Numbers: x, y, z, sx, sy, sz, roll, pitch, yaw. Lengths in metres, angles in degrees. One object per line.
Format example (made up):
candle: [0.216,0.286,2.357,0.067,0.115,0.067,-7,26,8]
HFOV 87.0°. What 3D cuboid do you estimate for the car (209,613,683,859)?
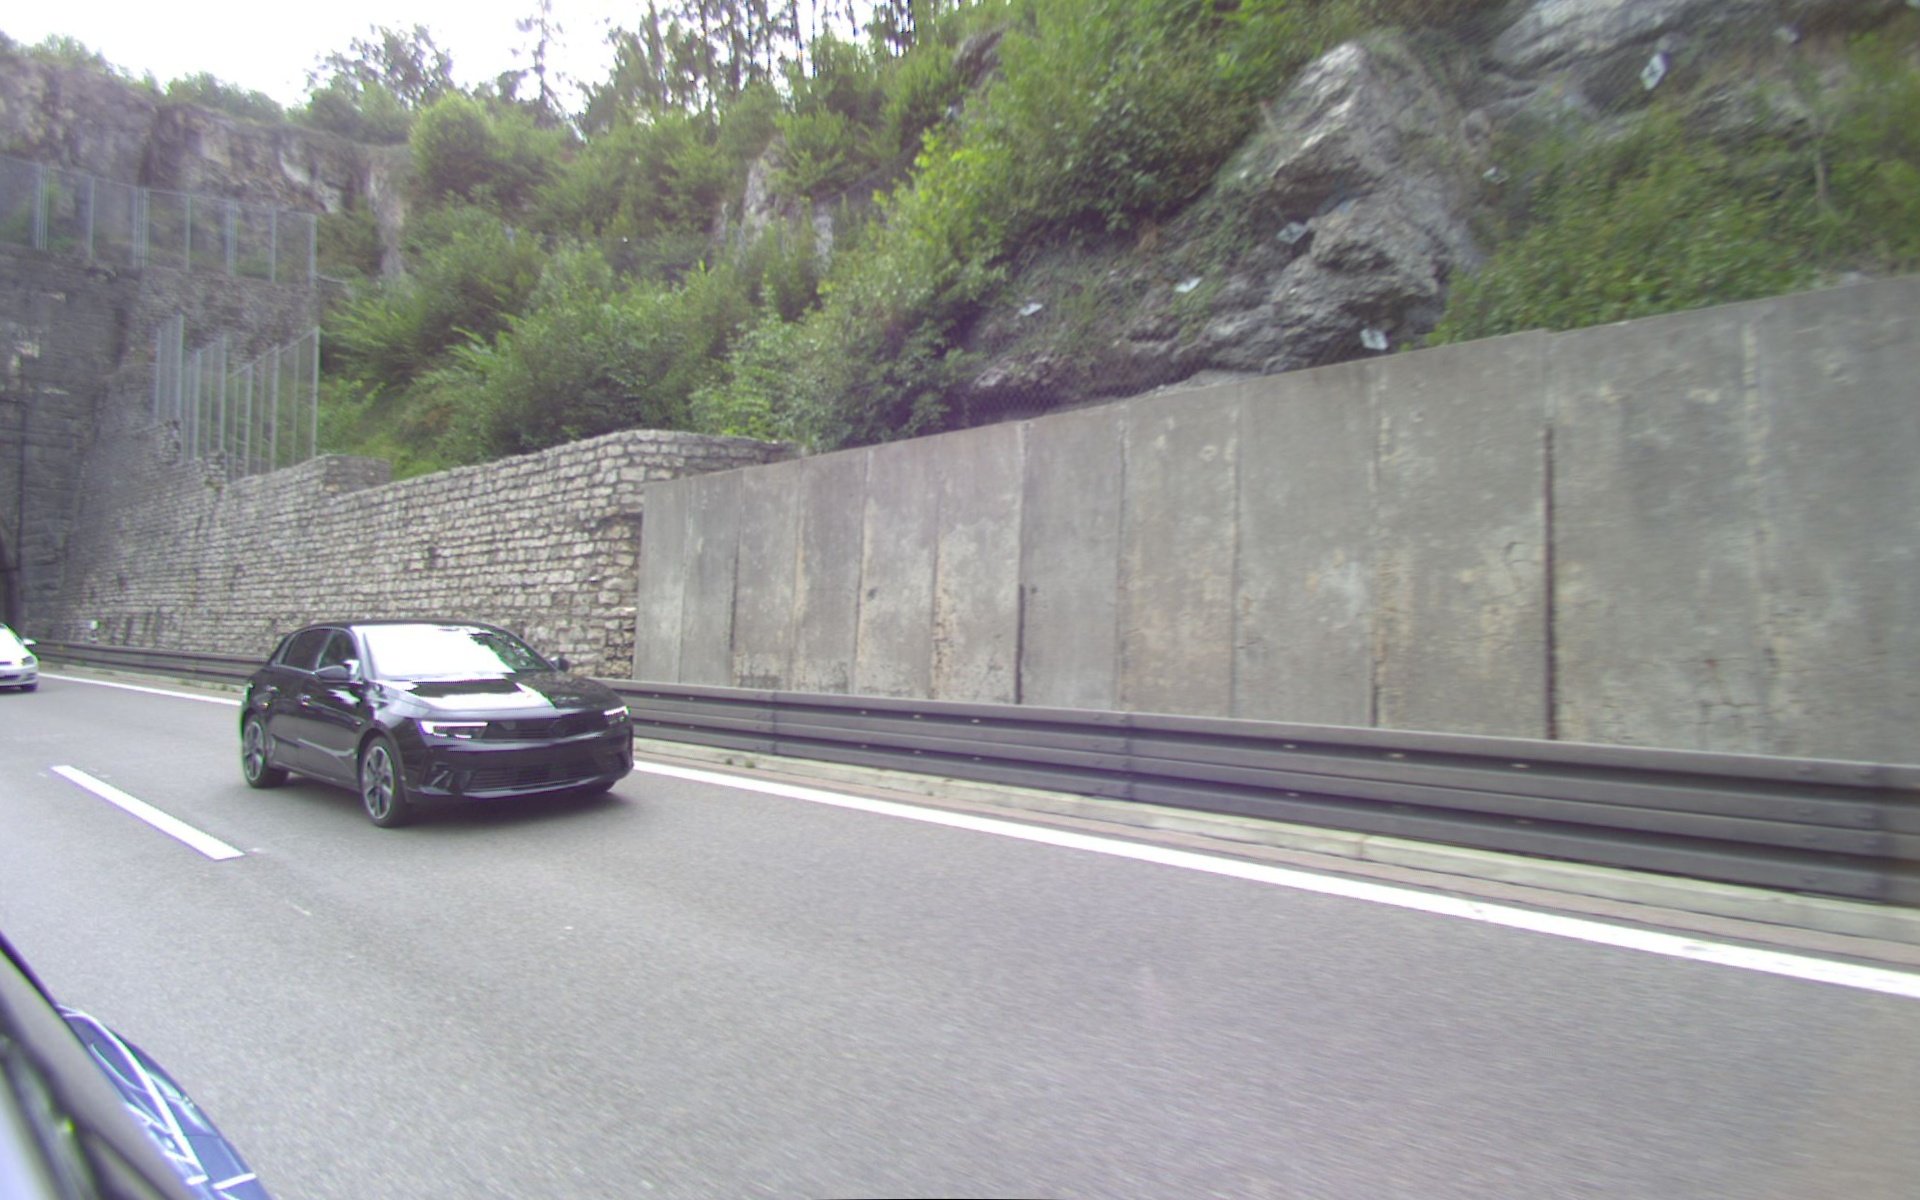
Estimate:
car: [-4.420,0.890,8.351,4.576,1.472,1.756,-1,0,39]

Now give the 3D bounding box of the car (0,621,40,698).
car: [-20.786,1.204,21.002,4.622,1.493,1.827,-1,-1,39]
